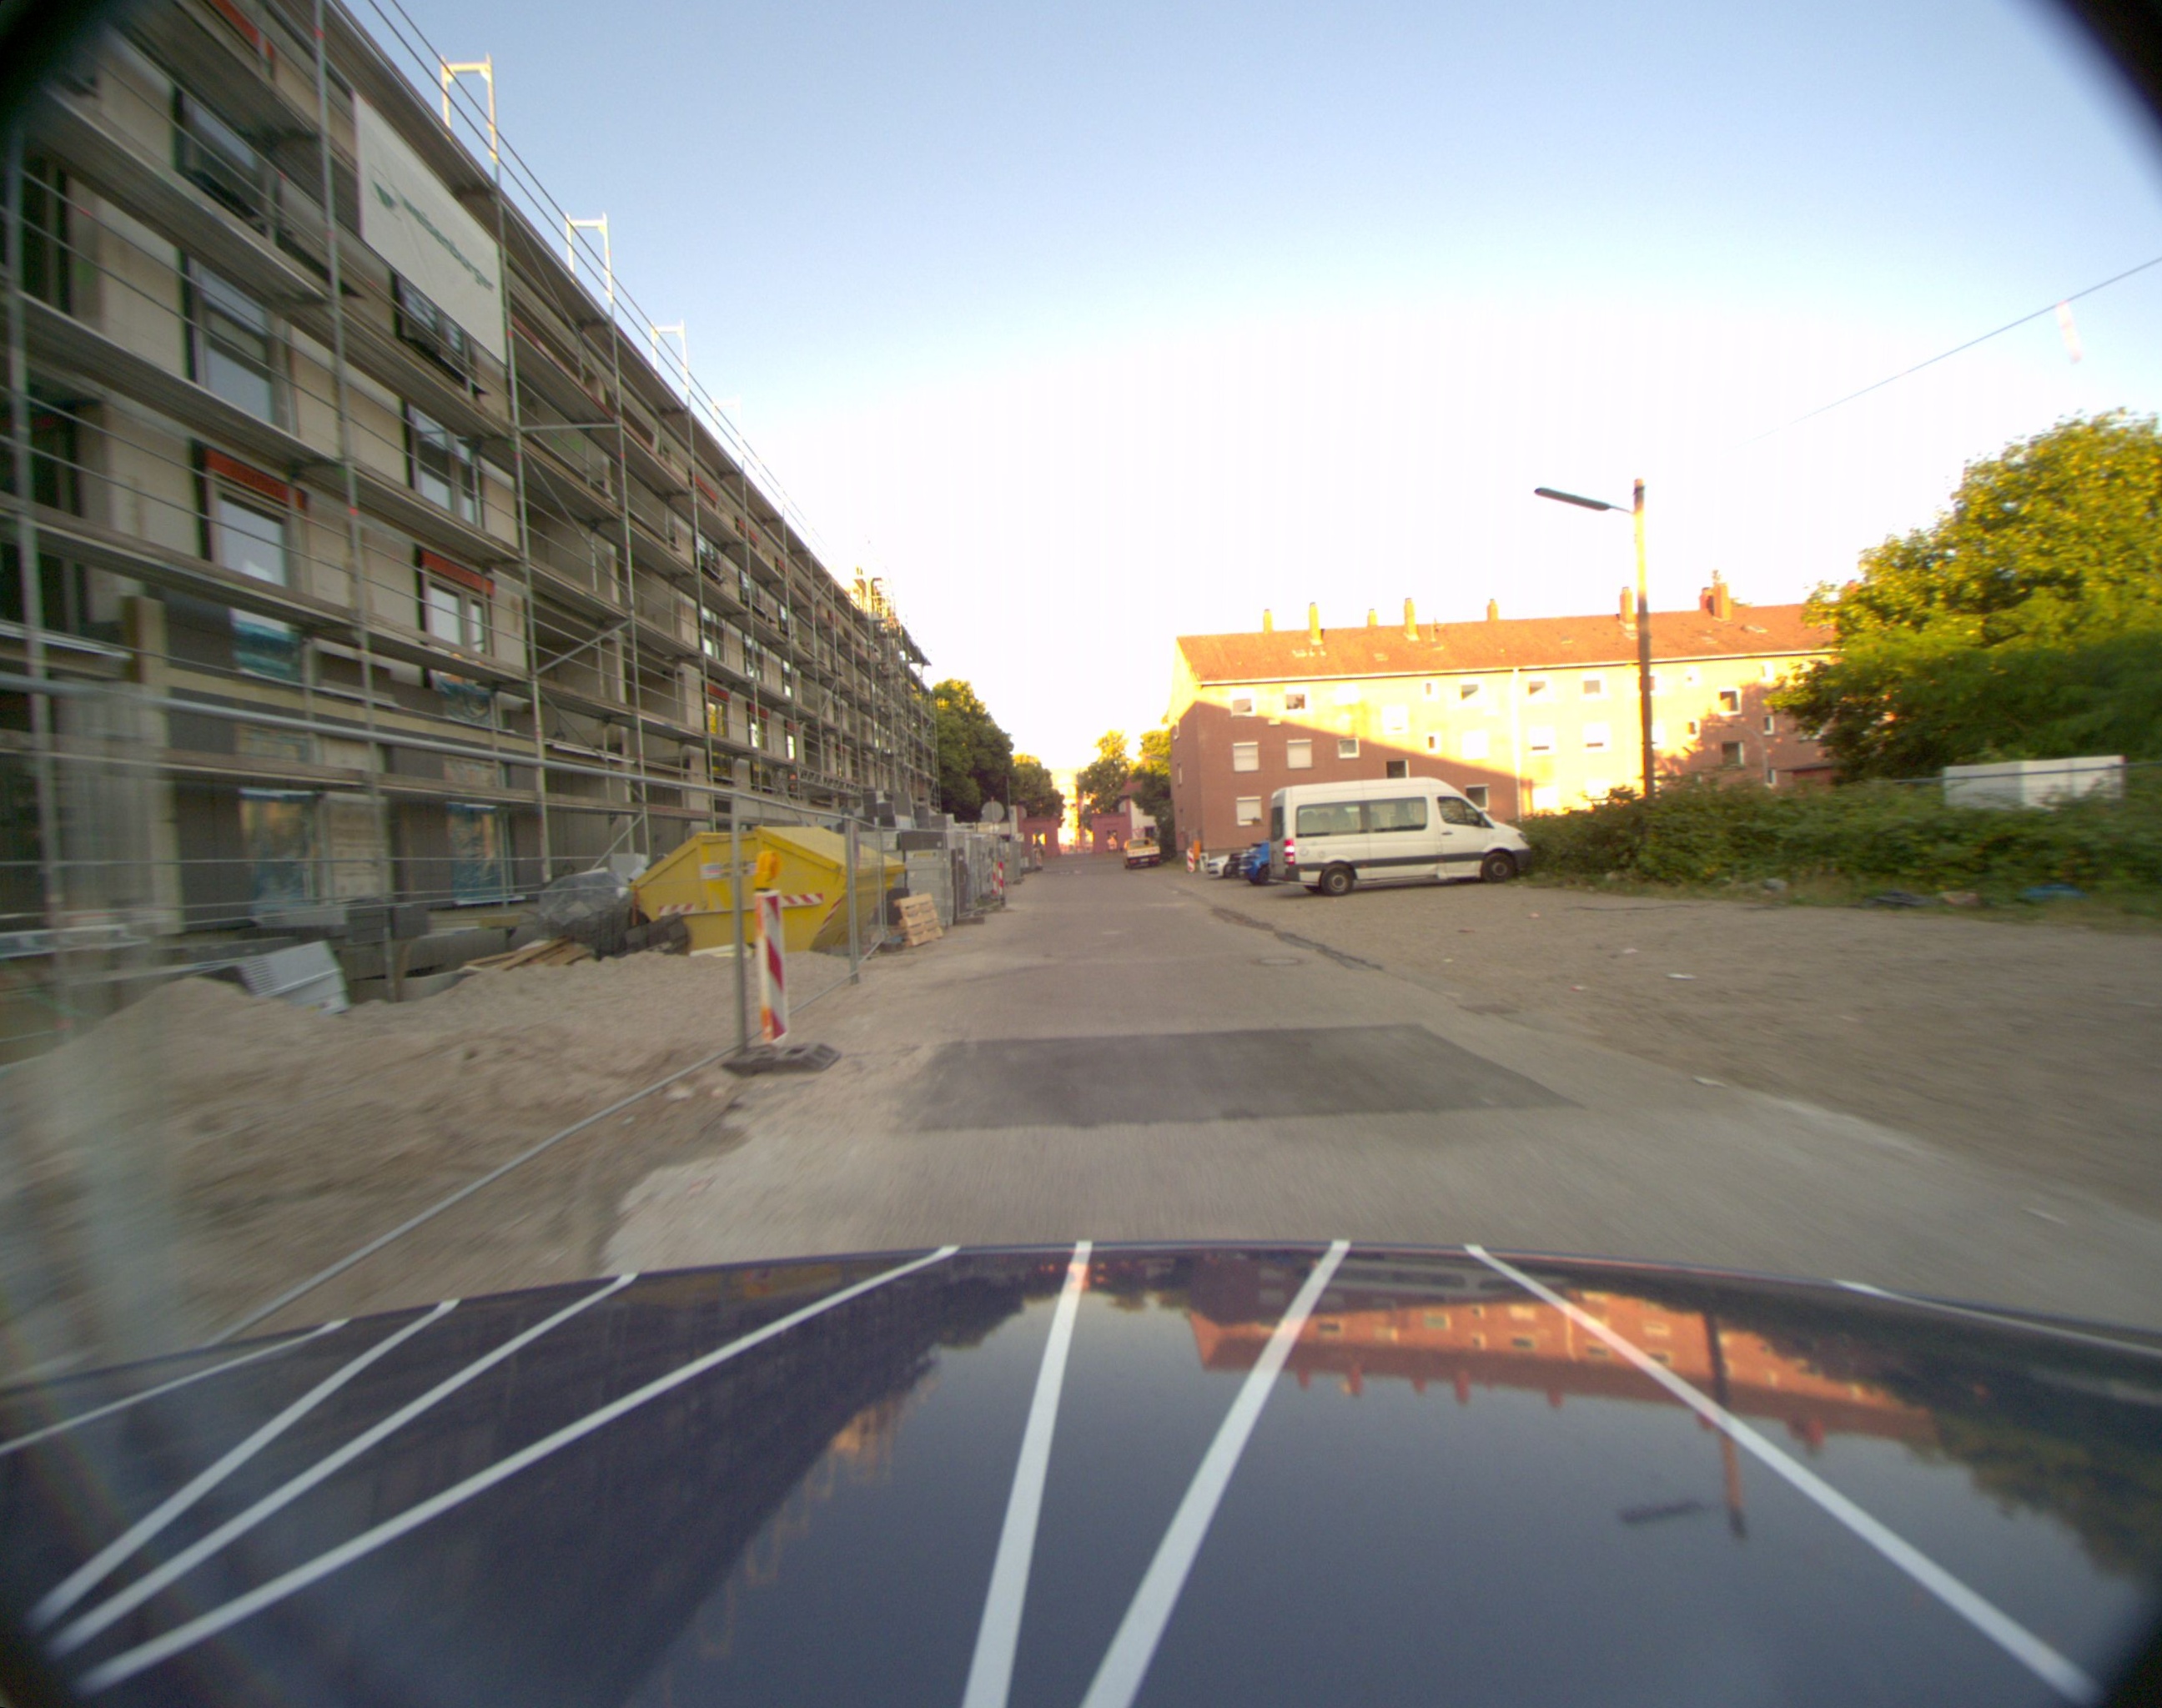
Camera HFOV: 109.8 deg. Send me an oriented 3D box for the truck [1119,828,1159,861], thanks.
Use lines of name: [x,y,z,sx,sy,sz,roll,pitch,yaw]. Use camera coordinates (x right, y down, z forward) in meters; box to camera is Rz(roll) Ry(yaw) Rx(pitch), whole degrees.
truck: [3.856,-0.666,51.179,2.040,1.902,5.659,-5,1,-1]

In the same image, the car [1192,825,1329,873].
car: [7.339,-0.217,31.375,5.008,1.536,2.115,-4,1,-4]

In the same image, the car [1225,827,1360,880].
car: [6.857,-0.027,24.894,3.847,1.421,1.727,-4,1,-3]

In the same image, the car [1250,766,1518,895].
car: [7.379,-0.558,19.032,5.702,2.611,2.222,-4,1,2]

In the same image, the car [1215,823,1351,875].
car: [7.358,-0.184,27.896,4.429,1.536,1.727,-4,1,-4]
